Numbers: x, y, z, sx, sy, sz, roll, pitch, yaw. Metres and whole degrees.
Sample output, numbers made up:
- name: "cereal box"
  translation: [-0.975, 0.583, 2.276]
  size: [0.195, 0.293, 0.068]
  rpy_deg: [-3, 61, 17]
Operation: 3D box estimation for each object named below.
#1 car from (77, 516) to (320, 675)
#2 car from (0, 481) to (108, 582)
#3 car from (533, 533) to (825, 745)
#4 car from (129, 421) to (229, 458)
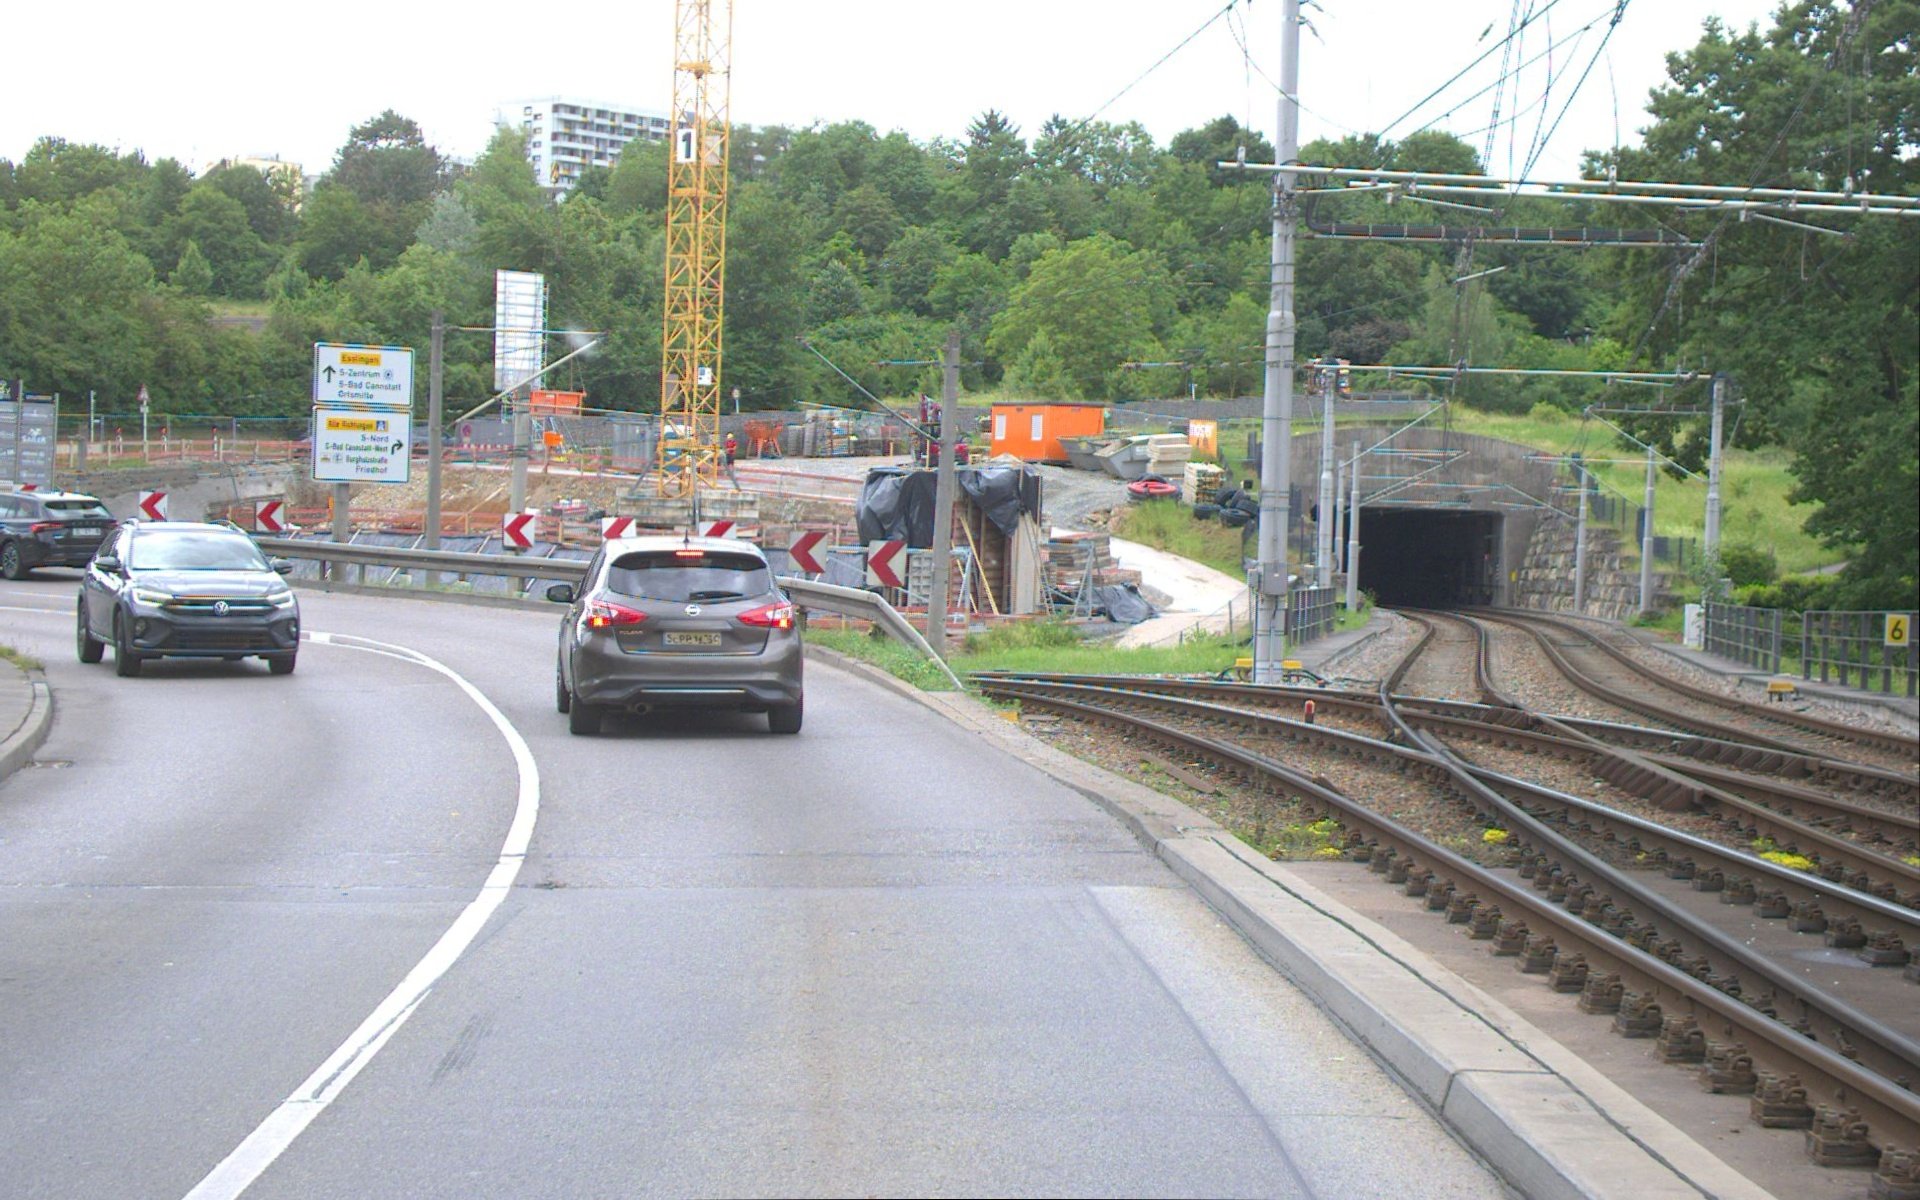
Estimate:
- name: "car"
  translation: [-7.835, -0.093, 35.125]
  size: [1.829, 1.504, 4.001]
  rpy_deg: [0, 2, -21]
- name: "car"
  translation: [-16.029, -1.182, 57.648]
  size: [1.680, 1.601, 4.308]
  rpy_deg: [-1, 3, -39]
- name: "car"
  translation: [-2.320, 0.259, 27.409]
  size: [1.829, 1.504, 4.001]
  rpy_deg: [1, 1, -12]
- name: "car"
  translation: [-34.359, -7.045, 151.269]
  size: [3.993, 1.405, 1.797]
  rpy_deg: [4, 1, 26]
